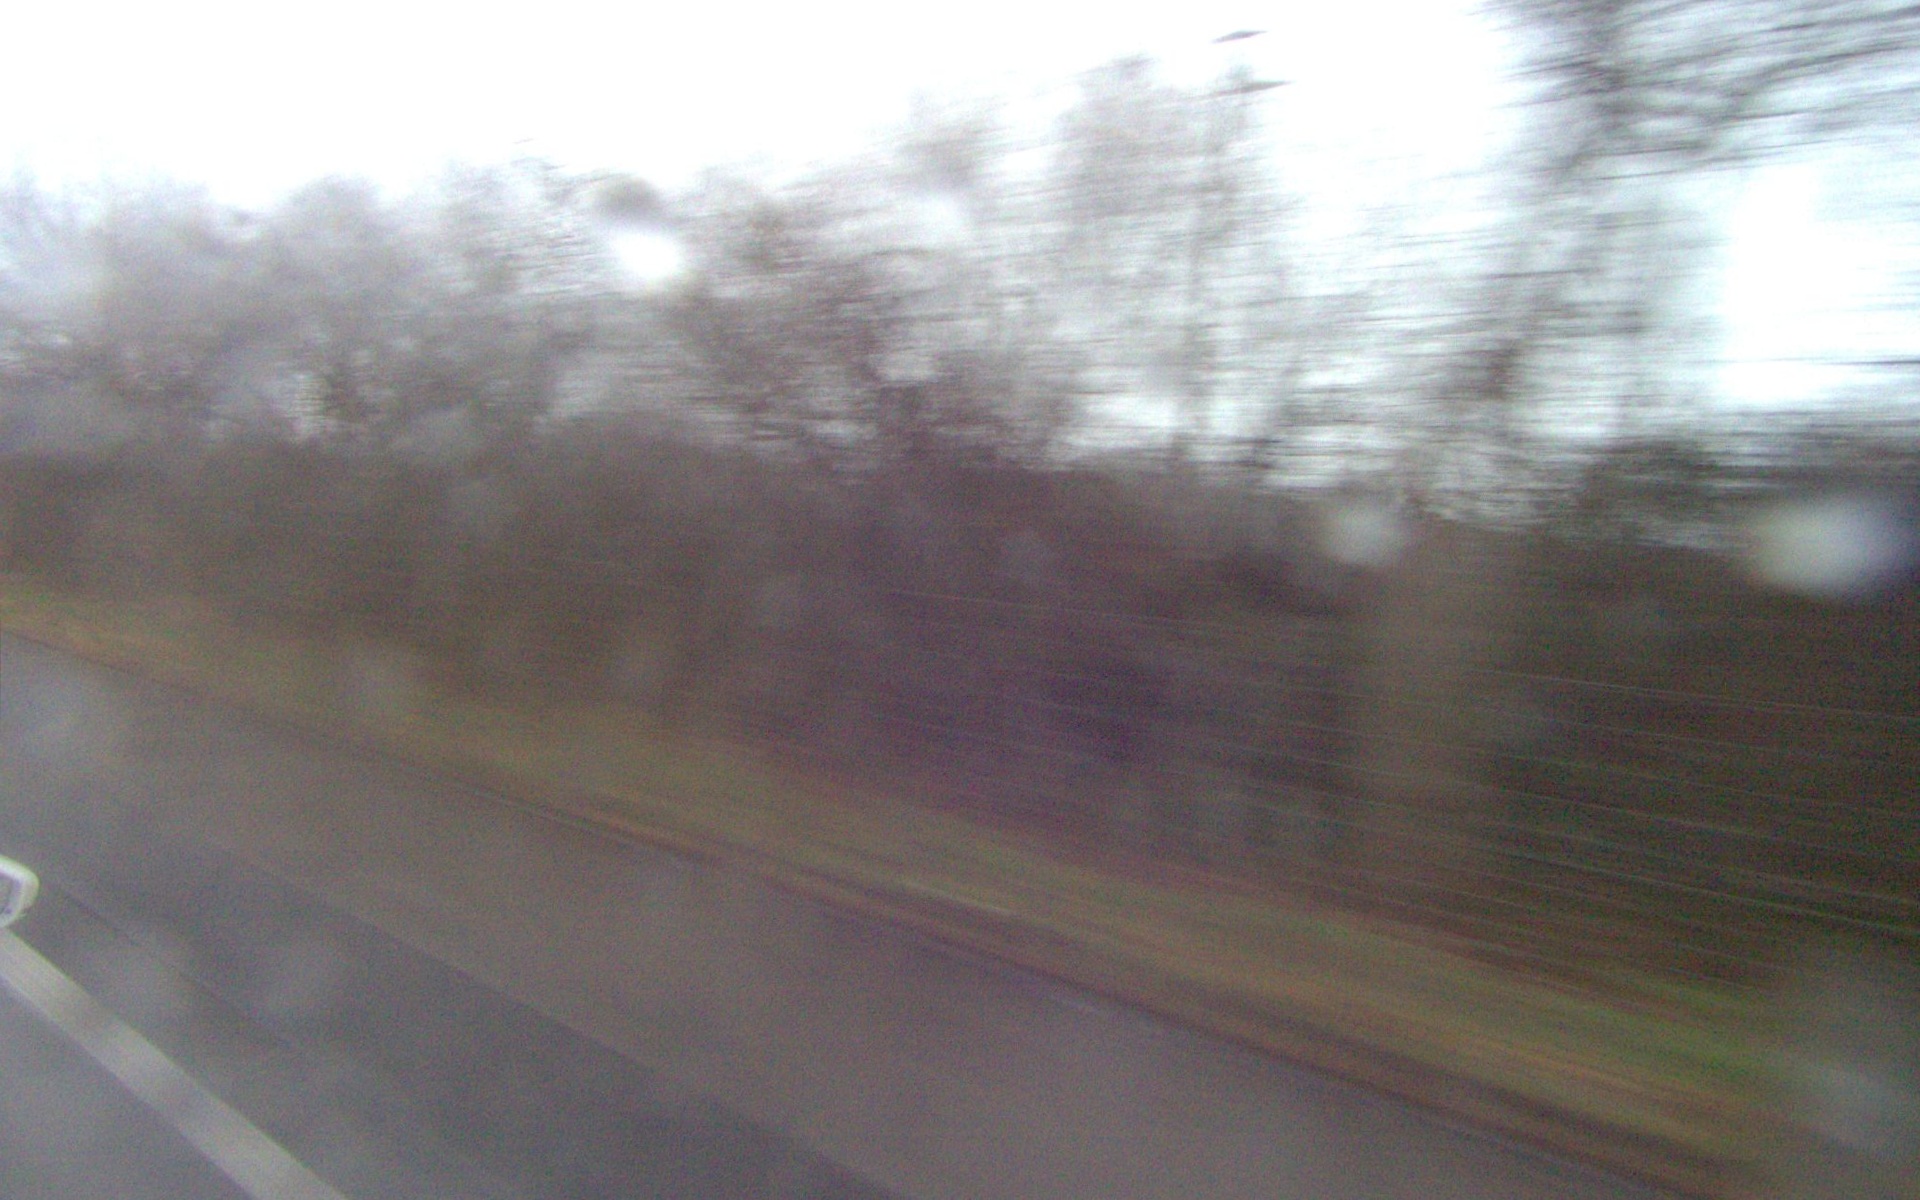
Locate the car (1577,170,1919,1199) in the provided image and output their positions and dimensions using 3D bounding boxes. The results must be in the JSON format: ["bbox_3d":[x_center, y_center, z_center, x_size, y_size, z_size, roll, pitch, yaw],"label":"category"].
[{"bbox_3d":[2.440,0.919,0.138,3.934,1.770,1.932,6,-1,32],"label":"car"}]
